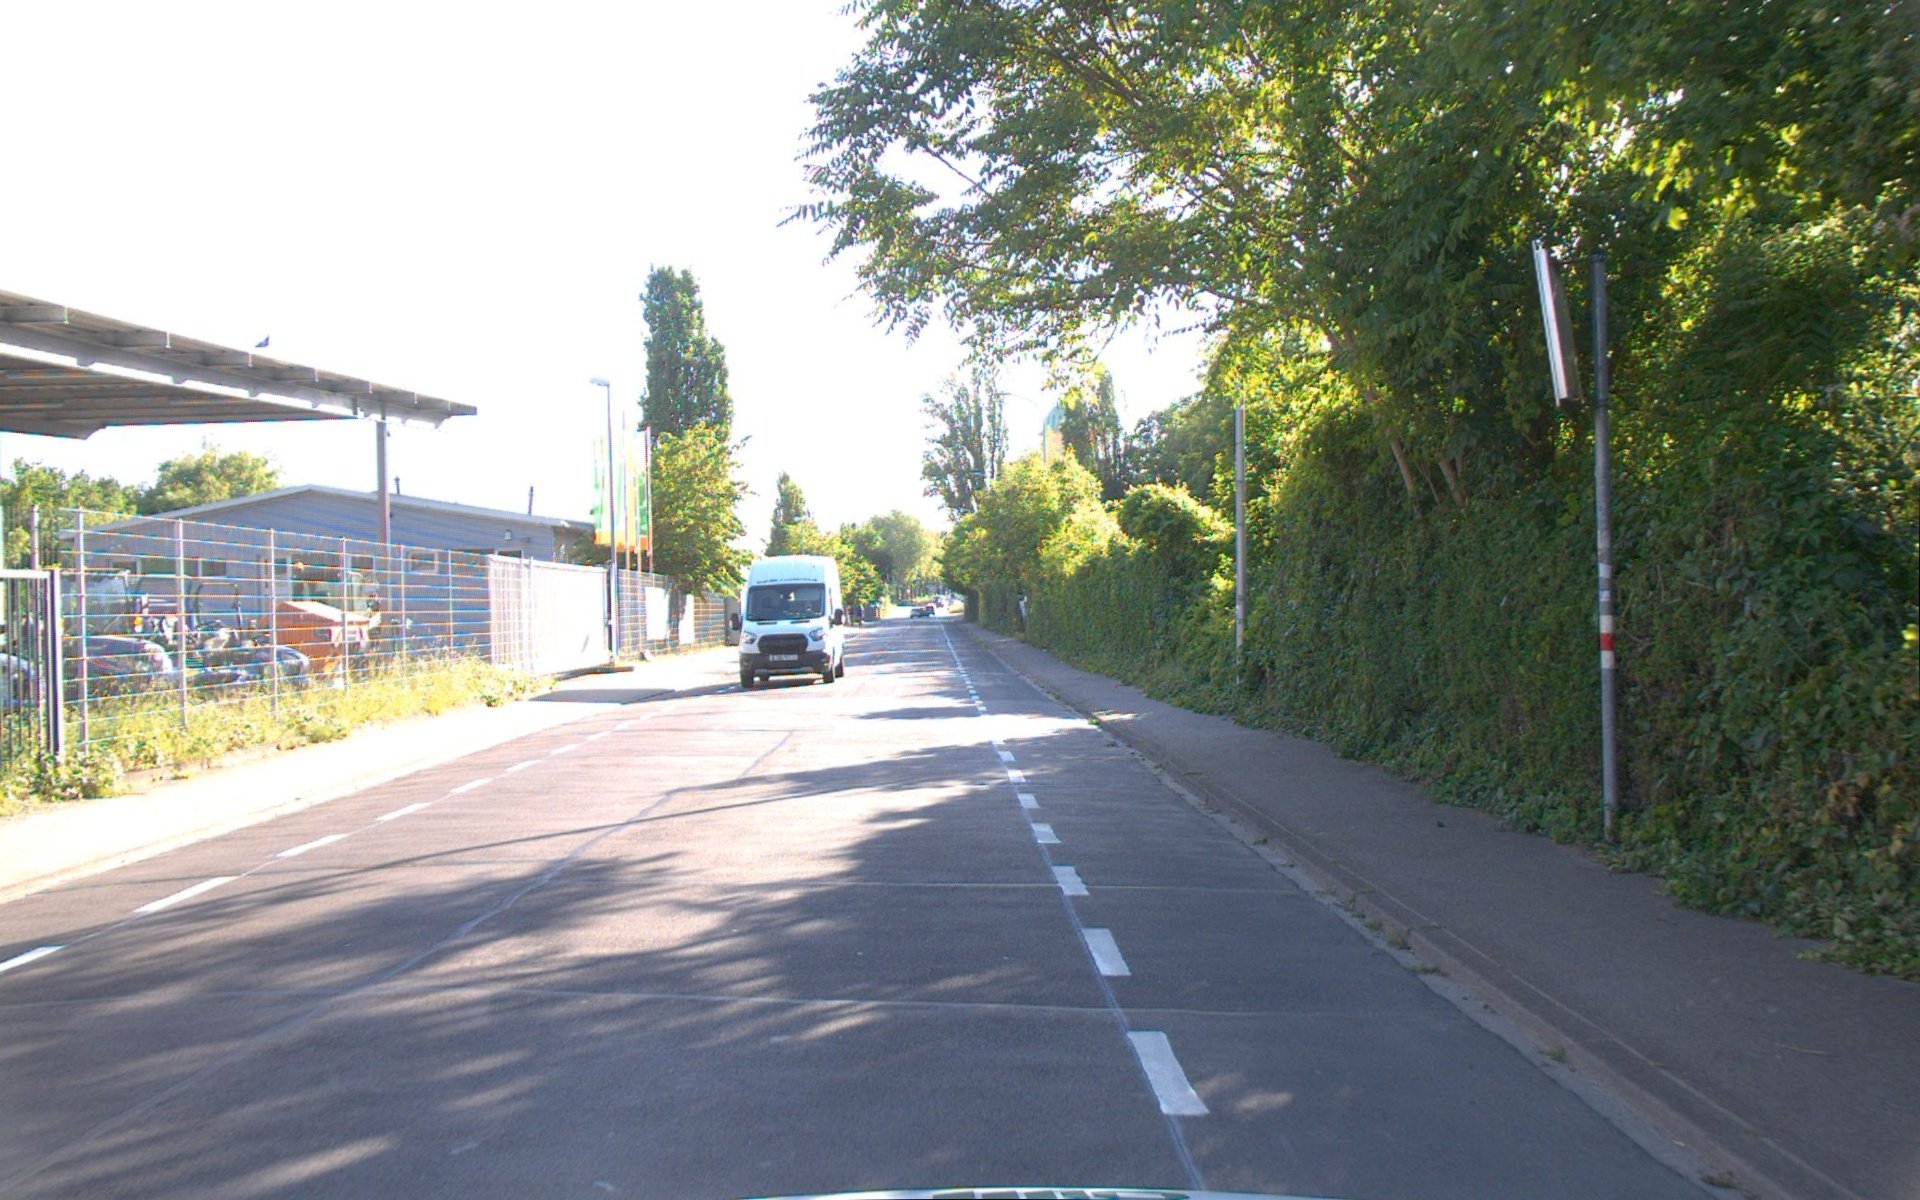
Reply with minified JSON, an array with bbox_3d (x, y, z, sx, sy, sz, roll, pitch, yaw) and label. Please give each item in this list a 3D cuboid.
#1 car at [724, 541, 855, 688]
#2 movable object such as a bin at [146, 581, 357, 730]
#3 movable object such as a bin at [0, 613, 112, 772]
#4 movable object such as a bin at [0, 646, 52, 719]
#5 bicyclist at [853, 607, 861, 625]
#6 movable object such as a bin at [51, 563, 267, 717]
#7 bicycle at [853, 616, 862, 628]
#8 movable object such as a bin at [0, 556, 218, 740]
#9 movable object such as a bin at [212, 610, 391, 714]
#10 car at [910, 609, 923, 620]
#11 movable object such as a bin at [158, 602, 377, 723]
[{"bbox_3d":[-3.646,0.324,36.451,2.080,2.828,5.926,-4,-1,0],"label":"car"},{"bbox_3d":[-11.077,0.854,25.865,2.823,2.186,1.498,-2,0,26],"label":"movable object such as a bin"},{"bbox_3d":[-11.367,1.027,18.627,3.329,1.641,1.624,-2,0,29],"label":"movable object such as a bin"},{"bbox_3d":[-19.273,1.648,32.837,1.144,1.355,2.634,-2,0,-4],"label":"movable object such as a bin"},{"bbox_3d":[-8.877,1.359,143.048,0.675,1.559,0.722,0,0,-1],"label":"bicyclist"},{"bbox_3d":[-11.810,0.588,24.397,2.735,2.163,1.384,-2,0,24],"label":"movable object such as a bin"},{"bbox_3d":[-8.880,1.921,143.014,0.675,1.052,1.350,0,0,-1],"label":"bicycle"},{"bbox_3d":[-11.081,0.594,21.170,2.711,2.202,1.521,-2,0,29],"label":"movable object such as a bin"},{"bbox_3d":[-11.774,1.091,29.691,2.585,1.710,1.525,-2,0,-3],"label":"movable object such as a bin"},{"bbox_3d":[-6.598,2.152,251.249,1.903,1.680,4.308,0,0,-1],"label":"car"},{"bbox_3d":[-11.570,1.017,27.770,2.978,1.867,1.525,-2,0,-3],"label":"movable object such as a bin"}]
